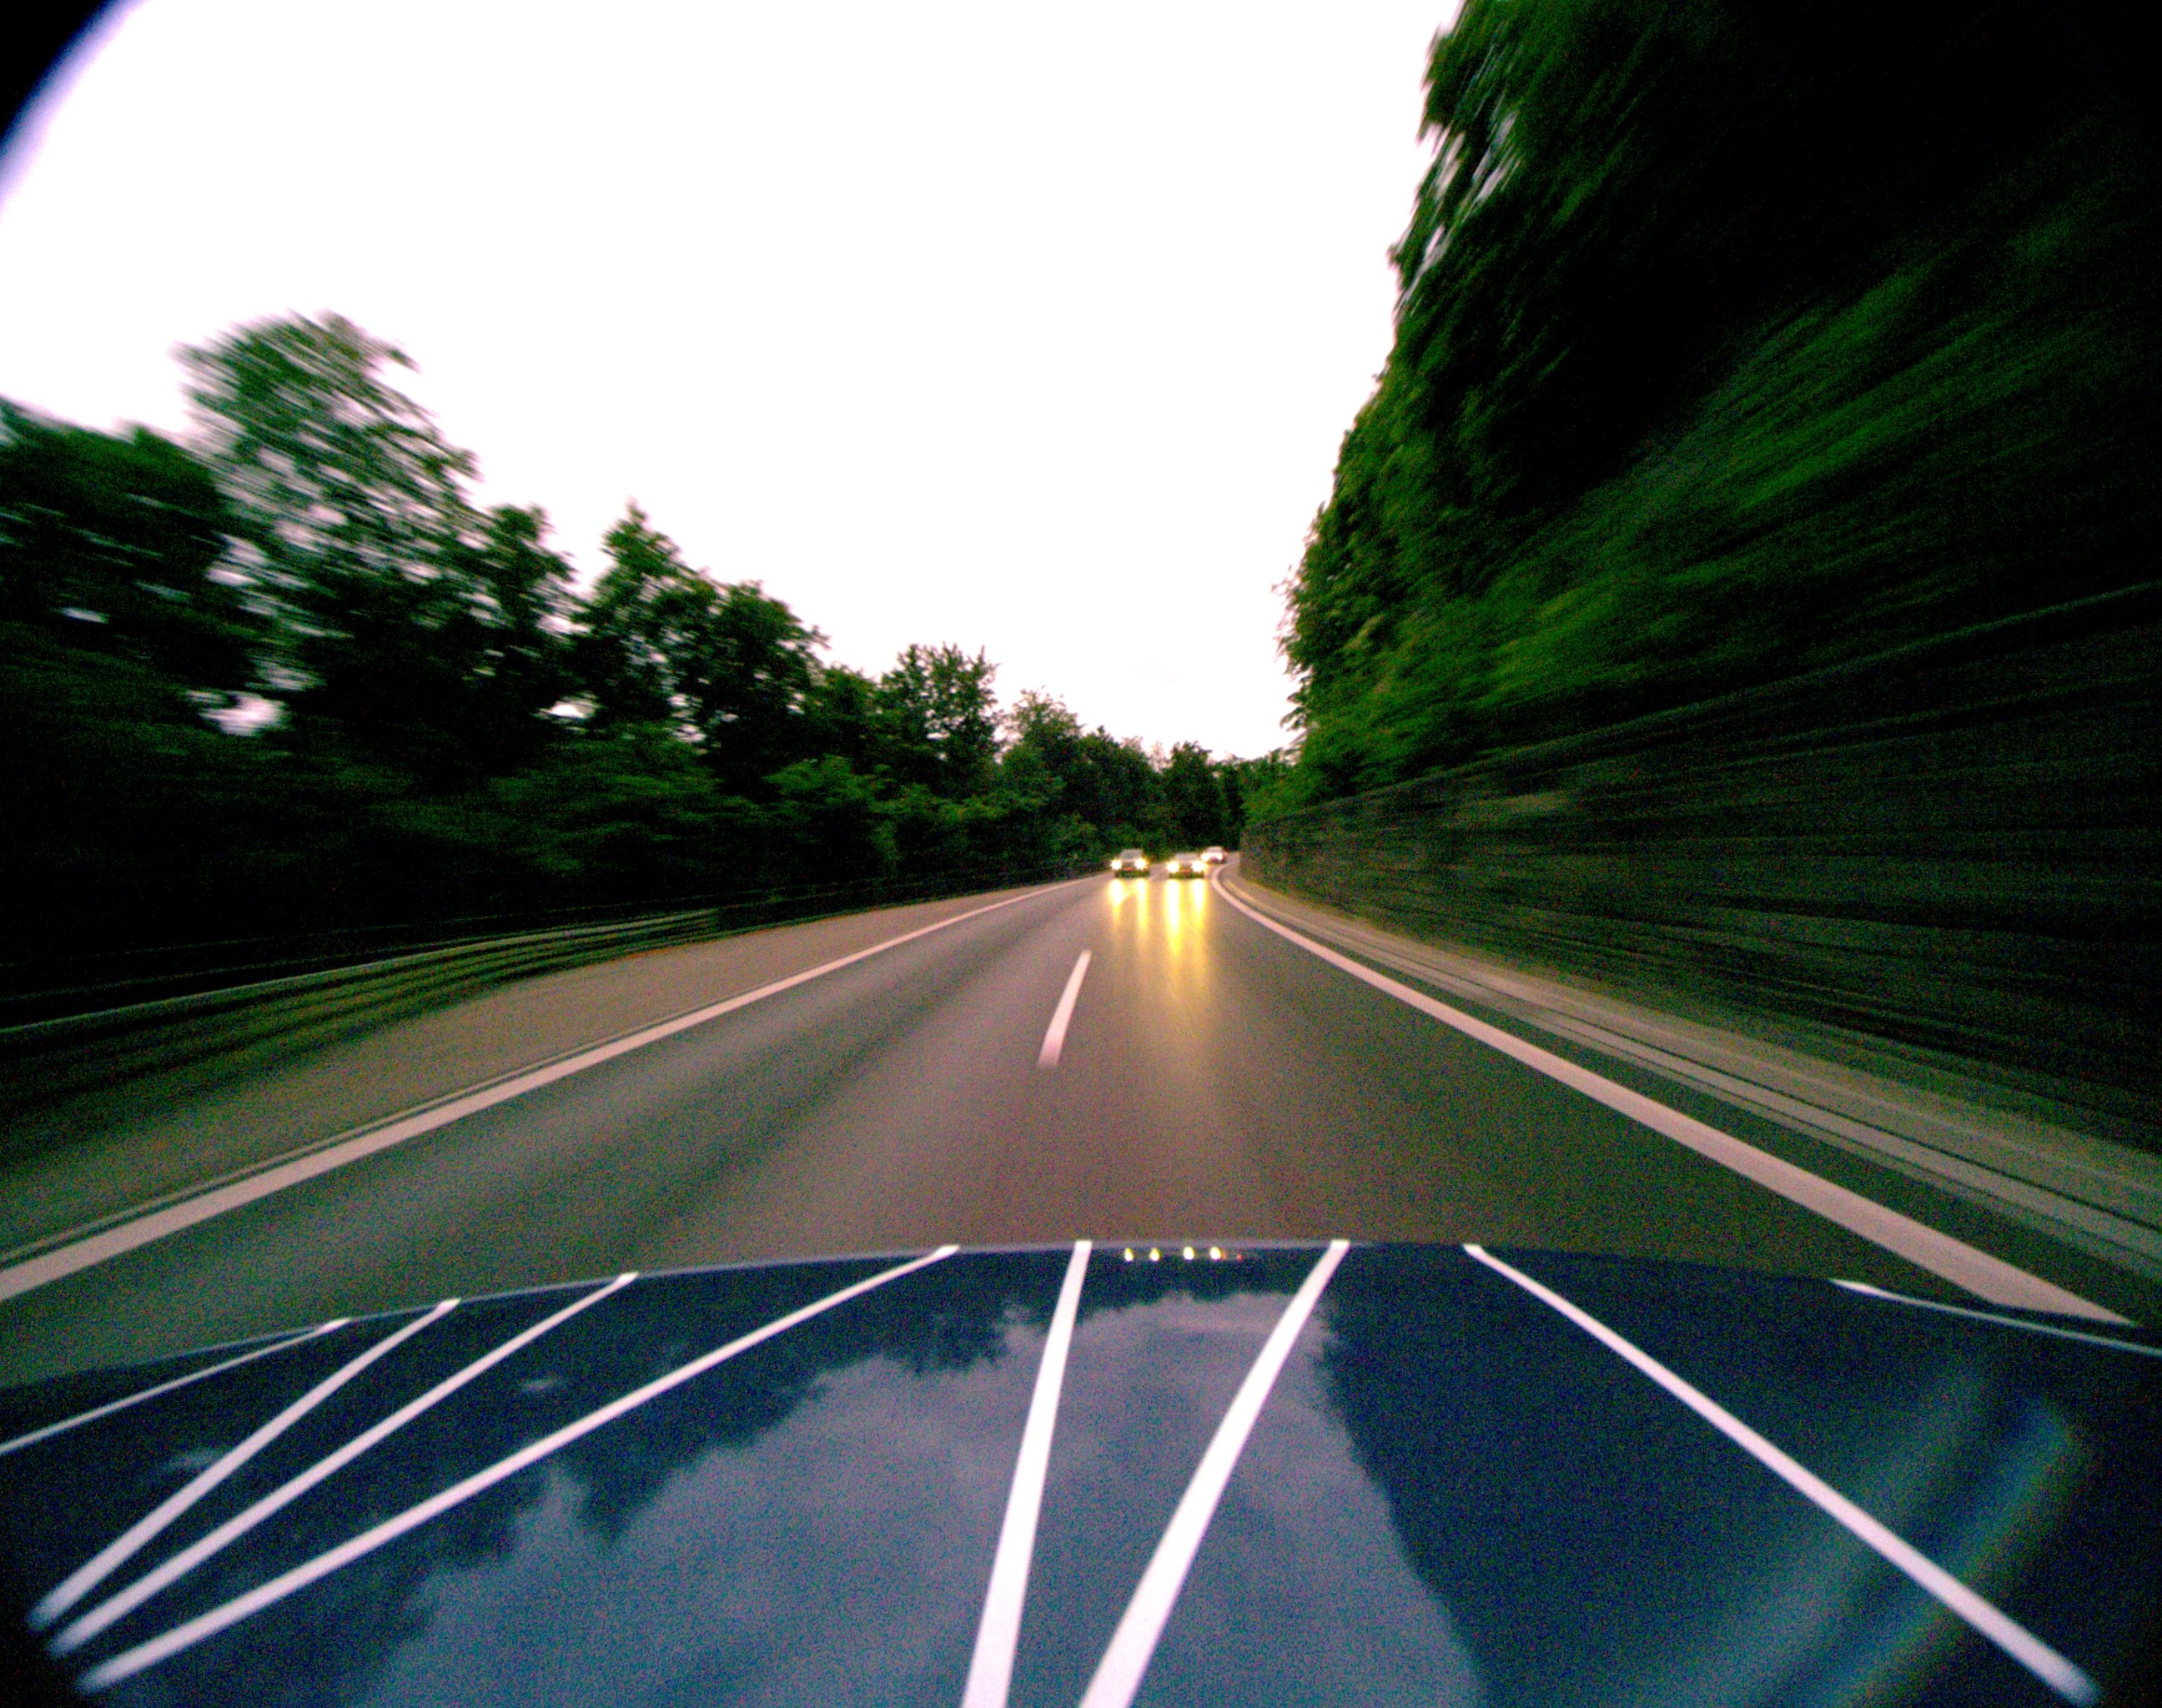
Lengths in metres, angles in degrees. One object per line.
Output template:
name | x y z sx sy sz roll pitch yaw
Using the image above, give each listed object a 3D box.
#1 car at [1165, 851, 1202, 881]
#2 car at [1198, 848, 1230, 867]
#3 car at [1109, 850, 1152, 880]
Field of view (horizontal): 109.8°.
car | 5.785 0.671 43.092 1.997 1.499 4.001 0 2 7
car | 12.139 0.312 69.057 1.996 1.499 4.005 -3 0 21
car | 3.100 0.641 46.630 1.996 1.630 4.003 -1 1 13
